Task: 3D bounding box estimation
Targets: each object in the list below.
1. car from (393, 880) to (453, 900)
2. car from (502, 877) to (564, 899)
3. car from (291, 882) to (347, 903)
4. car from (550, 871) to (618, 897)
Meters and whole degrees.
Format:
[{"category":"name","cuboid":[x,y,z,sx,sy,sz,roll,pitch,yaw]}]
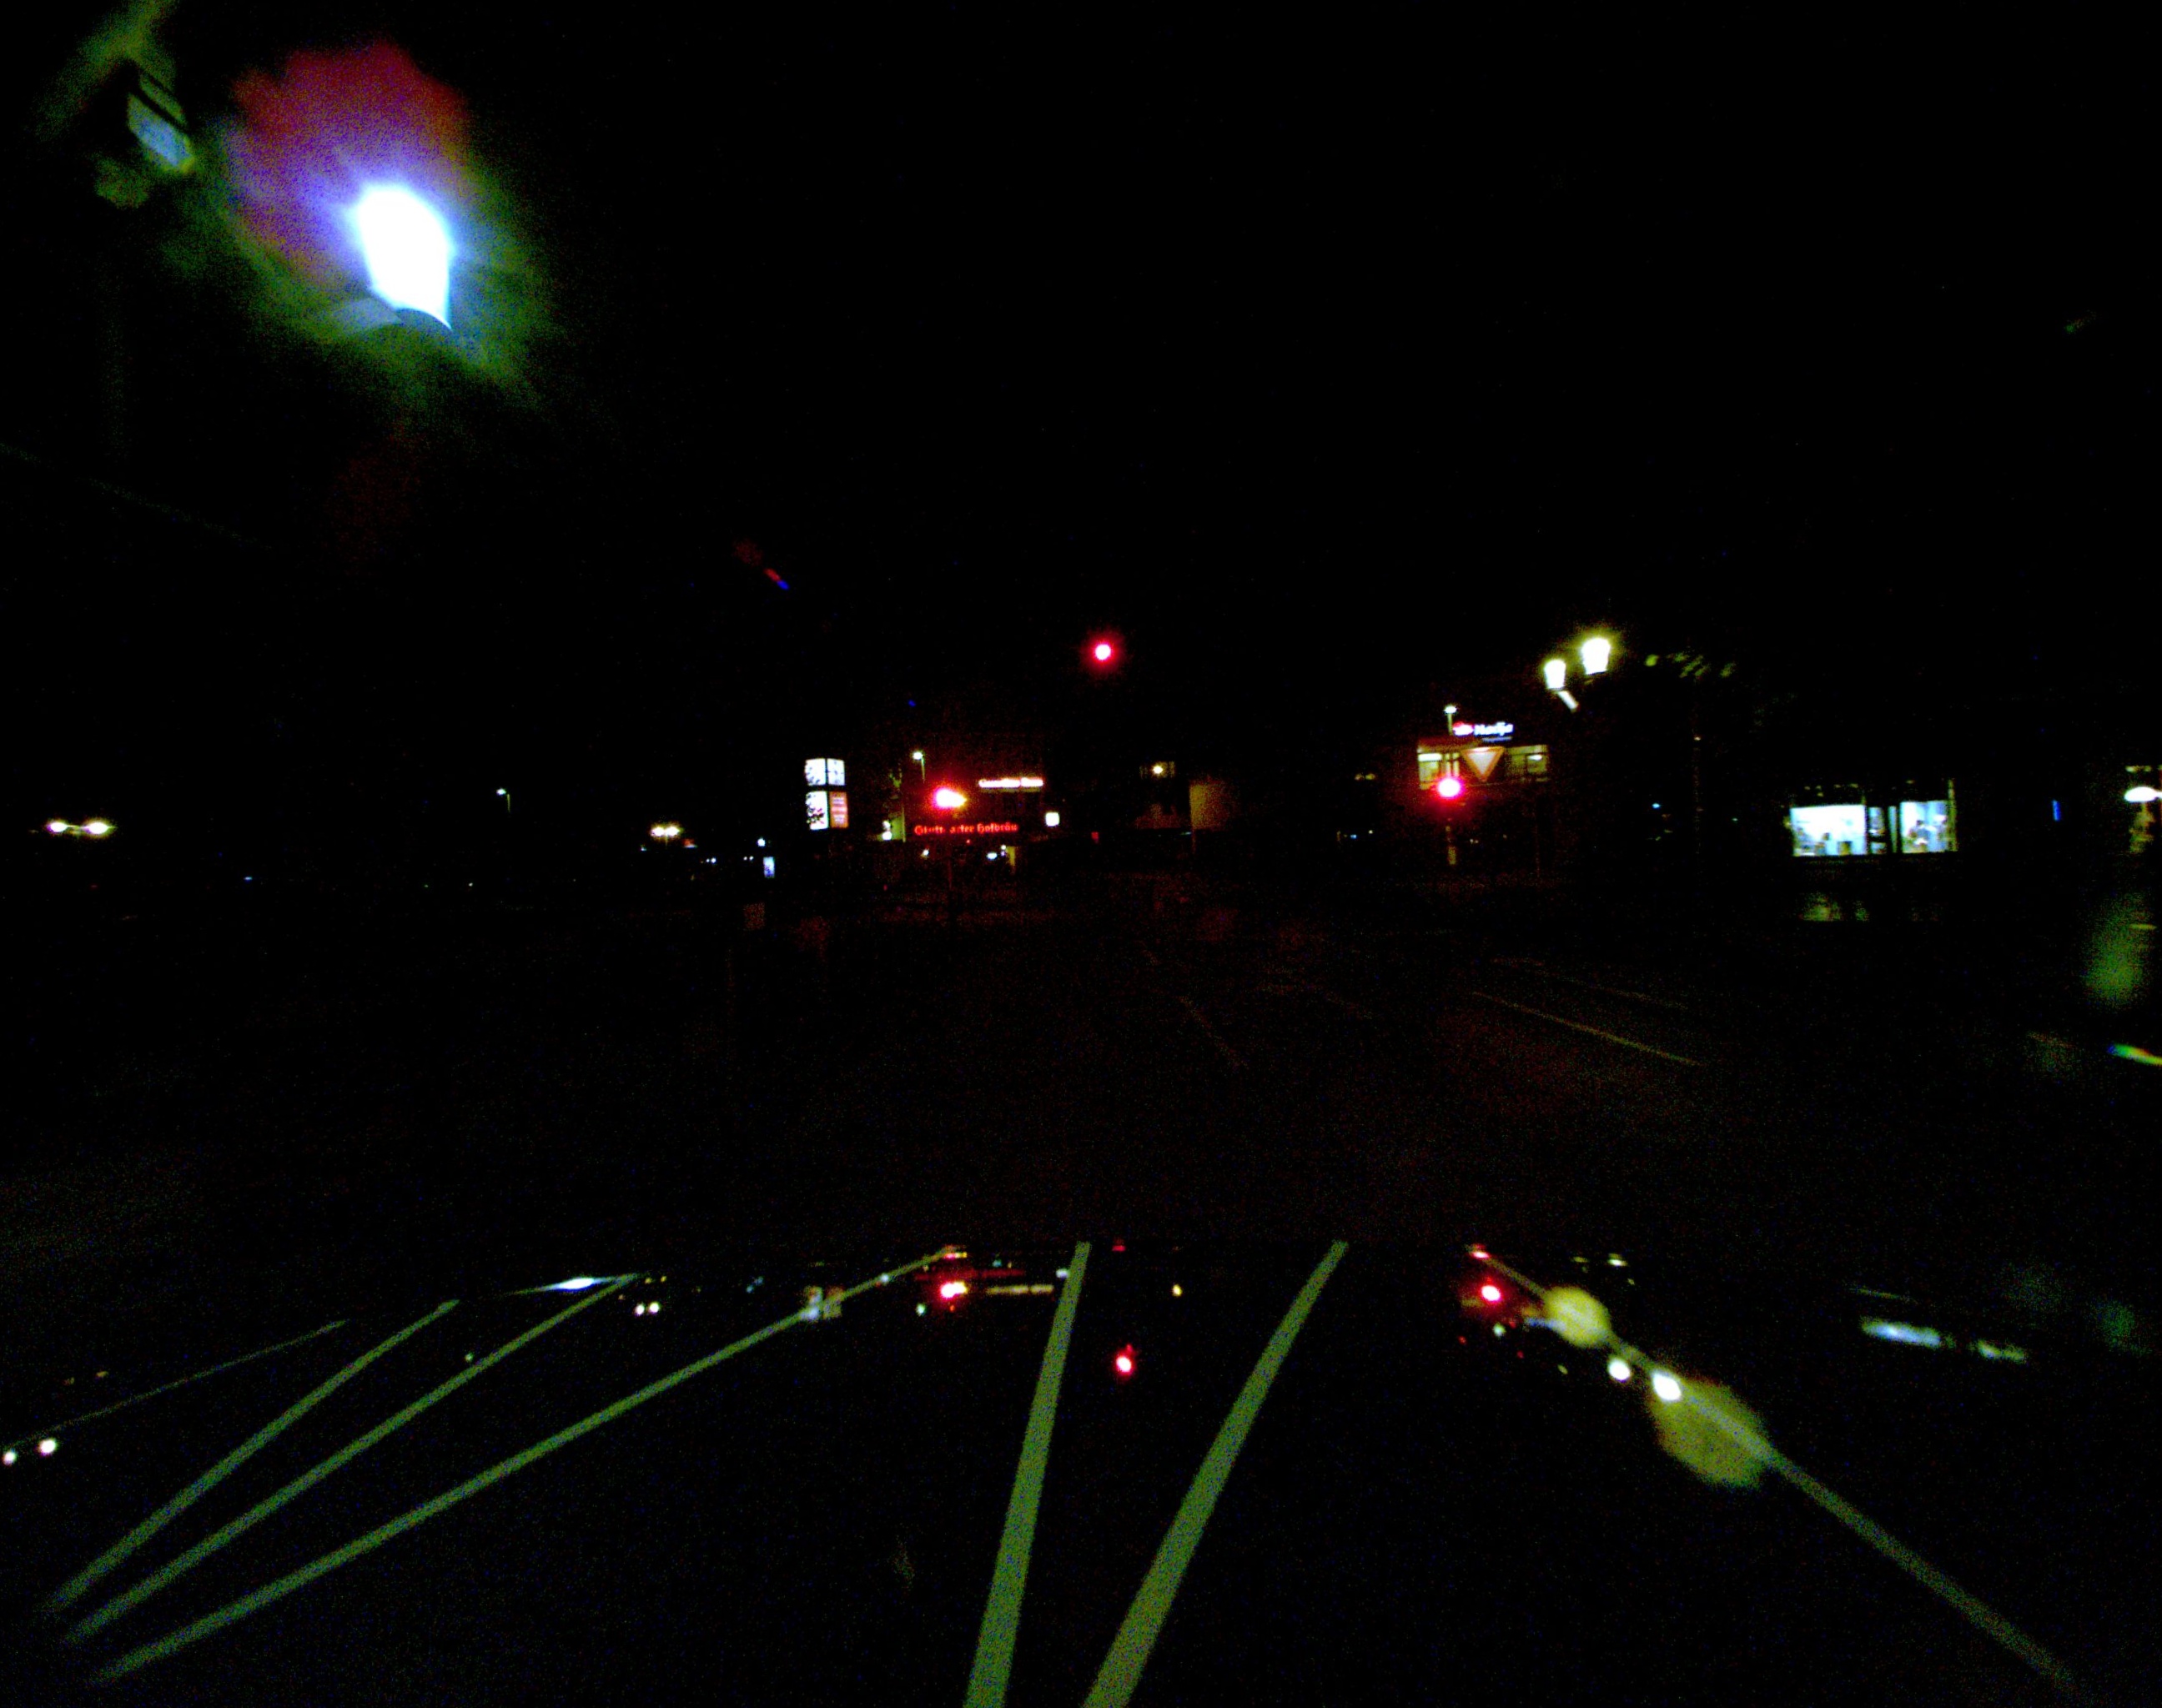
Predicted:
[{"category":"car","cuboid":[-50.923,2.796,58.820,3.886,1.444,1.898,-2,-1,21]},{"category":"car","cuboid":[-39.378,2.461,54.559,3.886,1.444,1.898,-2,-1,24]},{"category":"car","cuboid":[-63.478,3.227,63.268,3.886,1.616,2.017,-2,-1,24]},{"category":"car","cuboid":[-34.741,2.102,53.124,3.856,1.643,1.877,-2,-1,15]}]
